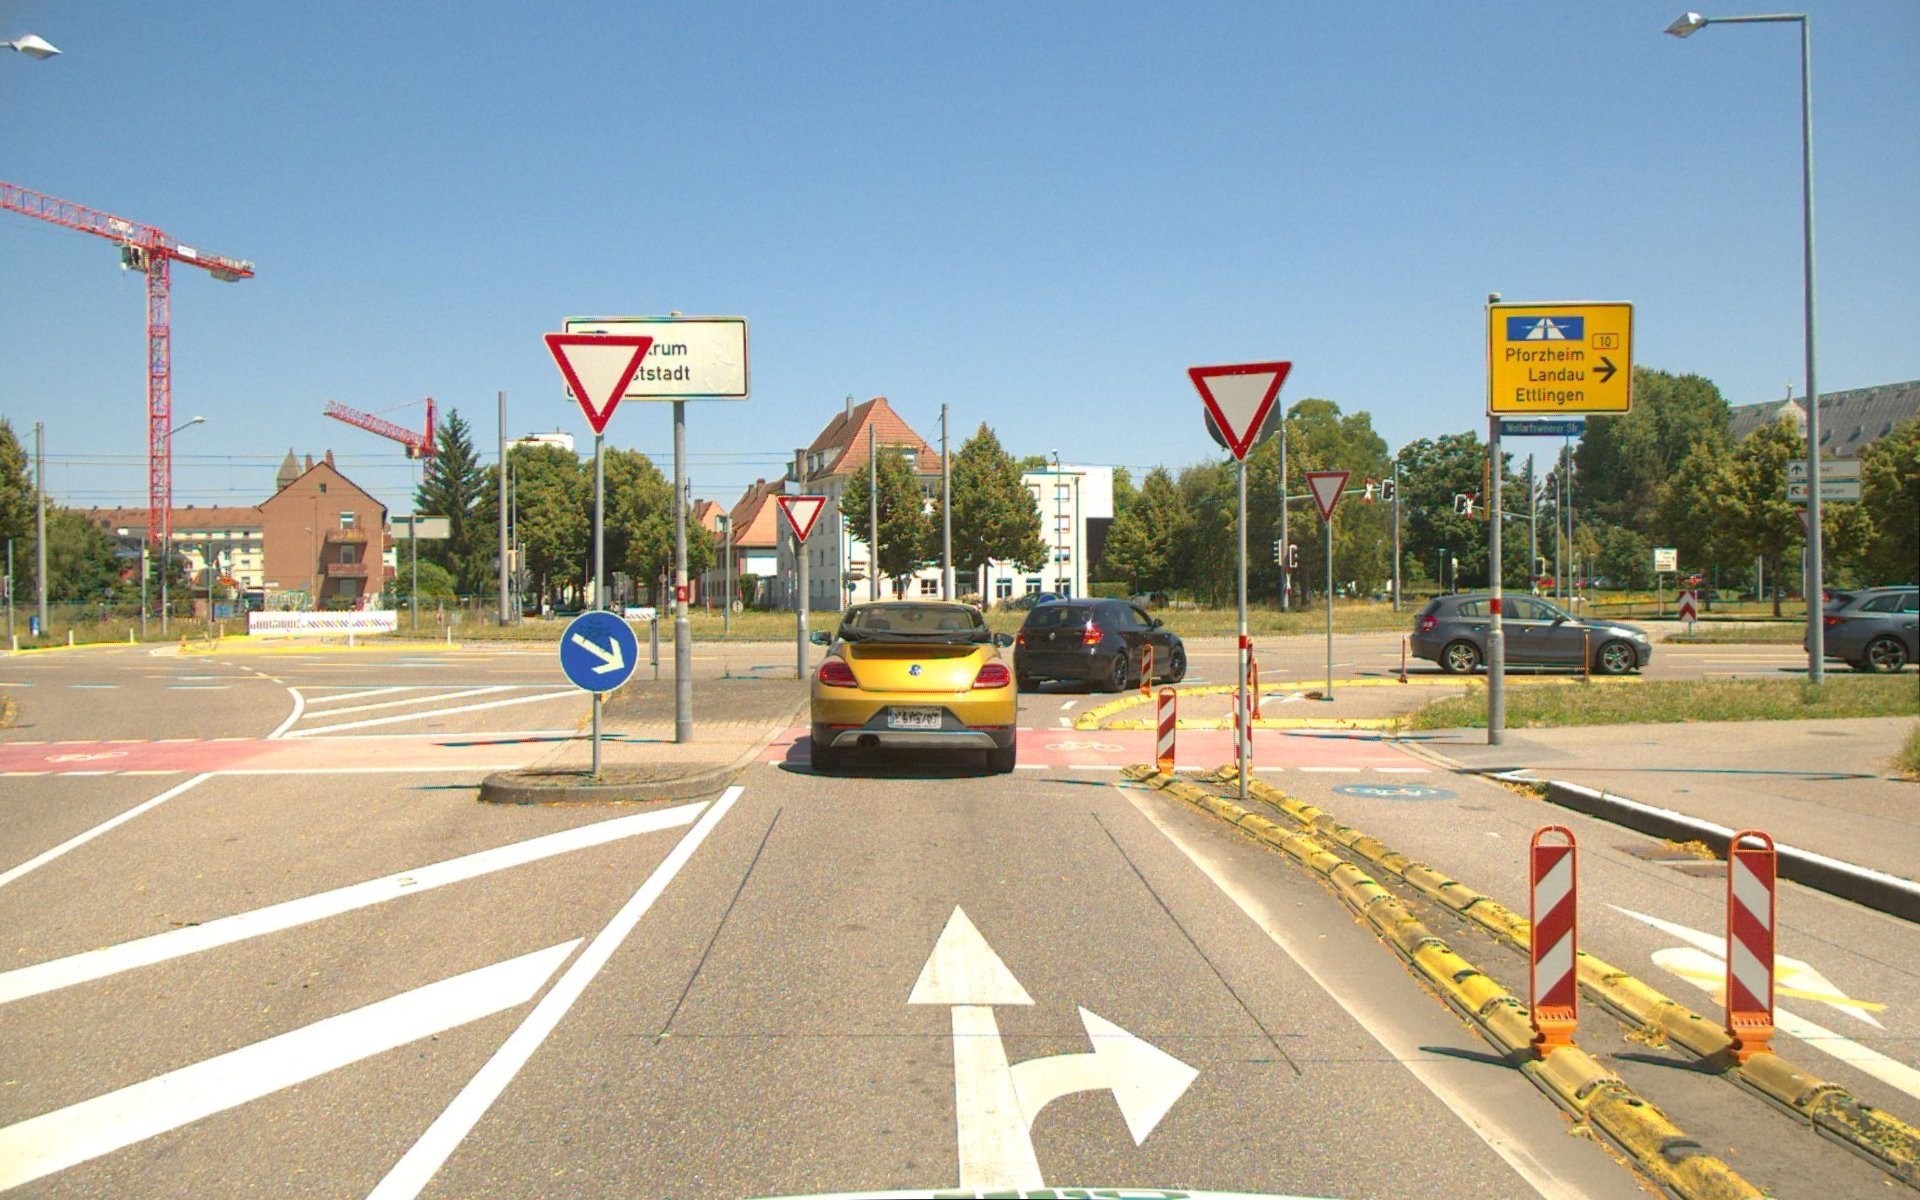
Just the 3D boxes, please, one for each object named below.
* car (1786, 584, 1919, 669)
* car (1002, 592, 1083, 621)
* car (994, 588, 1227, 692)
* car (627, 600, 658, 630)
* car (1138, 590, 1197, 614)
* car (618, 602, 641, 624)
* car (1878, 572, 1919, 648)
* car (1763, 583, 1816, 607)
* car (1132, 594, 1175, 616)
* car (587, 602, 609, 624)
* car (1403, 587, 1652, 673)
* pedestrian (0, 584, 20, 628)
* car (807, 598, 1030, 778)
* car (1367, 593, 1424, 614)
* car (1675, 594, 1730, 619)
[{"bbox_3d":[16.983,0.436,28.820,4.347,1.443,2.001,-1,0,17],"label":"car"},{"bbox_3d":[4.414,0.347,88.469,3.908,1.490,1.998,0,-1,26],"label":"car"},{"bbox_3d":[2.451,0.563,26.211,1.769,1.465,3.980,0,1,39],"label":"car"},{"bbox_3d":[-22.422,1.028,116.728,1.959,2.049,3.986,1,-1,-14],"label":"car"},{"bbox_3d":[15.433,0.159,123.131,3.919,1.713,1.993,1,-1,-14],"label":"car"},{"bbox_3d":[-31.801,1.264,159.215,1.959,2.049,3.986,1,-1,-14],"label":"car"},{"bbox_3d":[20.238,0.156,32.123,3.903,1.447,1.783,-1,0,17],"label":"car"},{"bbox_3d":[73.721,-0.438,146.973,3.923,2.049,1.991,0,-1,38],"label":"car"},{"bbox_3d":[18.836,0.509,160.562,3.902,2.049,2.001,1,-1,14],"label":"car"},{"bbox_3d":[-34.291,1.211,156.536,1.959,2.049,3.986,1,-1,-14],"label":"car"},{"bbox_3d":[10.110,0.528,29.731,3.980,1.427,1.755,-1,1,10],"label":"car"},{"bbox_3d":[-44.449,0.291,77.337,0.589,2.049,0.594,1,-1,-1],"label":"pedestrian"},{"bbox_3d":[-0.368,0.709,15.168,1.788,1.427,3.661,0,0,-1],"label":"car"},{"bbox_3d":[34.440,0.275,130.801,3.919,1.601,1.993,0,-1,35],"label":"car"},{"bbox_3d":[63.539,0.569,141.503,3.923,2.049,1.991,0,-1,38],"label":"car"}]
